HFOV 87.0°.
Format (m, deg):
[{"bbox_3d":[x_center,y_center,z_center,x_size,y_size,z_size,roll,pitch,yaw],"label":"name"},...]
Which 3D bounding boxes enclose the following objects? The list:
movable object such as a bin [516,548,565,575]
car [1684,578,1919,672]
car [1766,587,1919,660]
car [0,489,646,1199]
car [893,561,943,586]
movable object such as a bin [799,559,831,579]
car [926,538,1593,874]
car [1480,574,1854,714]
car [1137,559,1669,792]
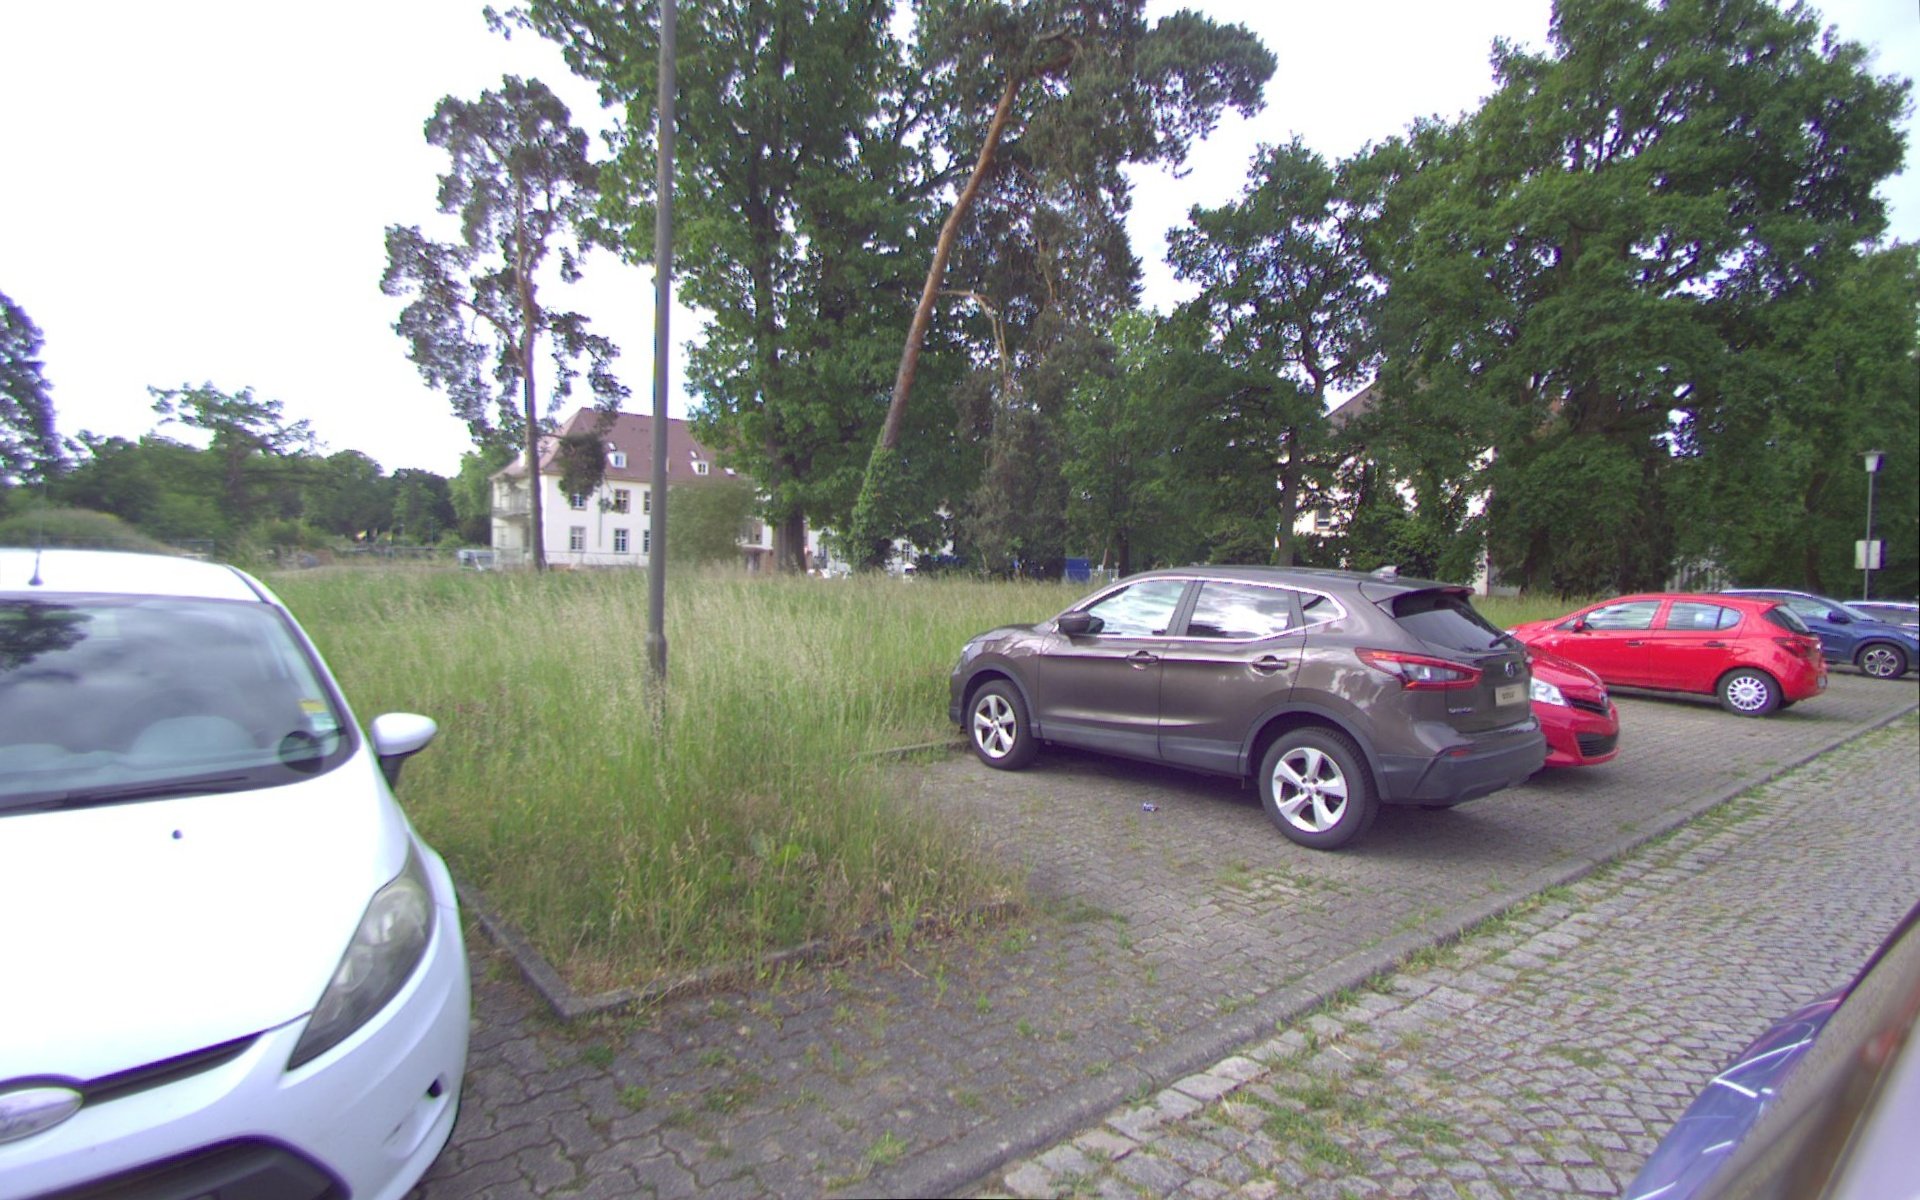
[{"bbox_3d":[-32.772,-2.990,79.070,3.188,2.038,1.678,0,2,-42],"label":"movable object such as a bin"},{"bbox_3d":[17.222,0.451,20.252,1.555,1.556,4.149,0,3,-41],"label":"car"},{"bbox_3d":[20.921,0.539,22.959,1.555,1.443,3.876,0,3,-41],"label":"car"},{"bbox_3d":[-2.607,0.483,2.939,1.809,1.489,3.873,0,6,-41],"label":"car"},{"bbox_3d":[-3.593,-2.281,86.249,3.935,2.038,1.995,0,2,-45],"label":"car"},{"bbox_3d":[-15.088,-3.221,105.124,2.932,2.038,1.553,0,2,-40],"label":"movable object such as a bin"},{"bbox_3d":[1.806,0.434,7.269,1.790,1.618,4.269,0,3,-41],"label":"car"},{"bbox_3d":[9.479,0.480,13.829,1.555,1.477,3.893,0,3,-41],"label":"car"},{"bbox_3d":[3.733,0.466,9.143,1.734,1.504,4.017,0,3,-39],"label":"car"}]
